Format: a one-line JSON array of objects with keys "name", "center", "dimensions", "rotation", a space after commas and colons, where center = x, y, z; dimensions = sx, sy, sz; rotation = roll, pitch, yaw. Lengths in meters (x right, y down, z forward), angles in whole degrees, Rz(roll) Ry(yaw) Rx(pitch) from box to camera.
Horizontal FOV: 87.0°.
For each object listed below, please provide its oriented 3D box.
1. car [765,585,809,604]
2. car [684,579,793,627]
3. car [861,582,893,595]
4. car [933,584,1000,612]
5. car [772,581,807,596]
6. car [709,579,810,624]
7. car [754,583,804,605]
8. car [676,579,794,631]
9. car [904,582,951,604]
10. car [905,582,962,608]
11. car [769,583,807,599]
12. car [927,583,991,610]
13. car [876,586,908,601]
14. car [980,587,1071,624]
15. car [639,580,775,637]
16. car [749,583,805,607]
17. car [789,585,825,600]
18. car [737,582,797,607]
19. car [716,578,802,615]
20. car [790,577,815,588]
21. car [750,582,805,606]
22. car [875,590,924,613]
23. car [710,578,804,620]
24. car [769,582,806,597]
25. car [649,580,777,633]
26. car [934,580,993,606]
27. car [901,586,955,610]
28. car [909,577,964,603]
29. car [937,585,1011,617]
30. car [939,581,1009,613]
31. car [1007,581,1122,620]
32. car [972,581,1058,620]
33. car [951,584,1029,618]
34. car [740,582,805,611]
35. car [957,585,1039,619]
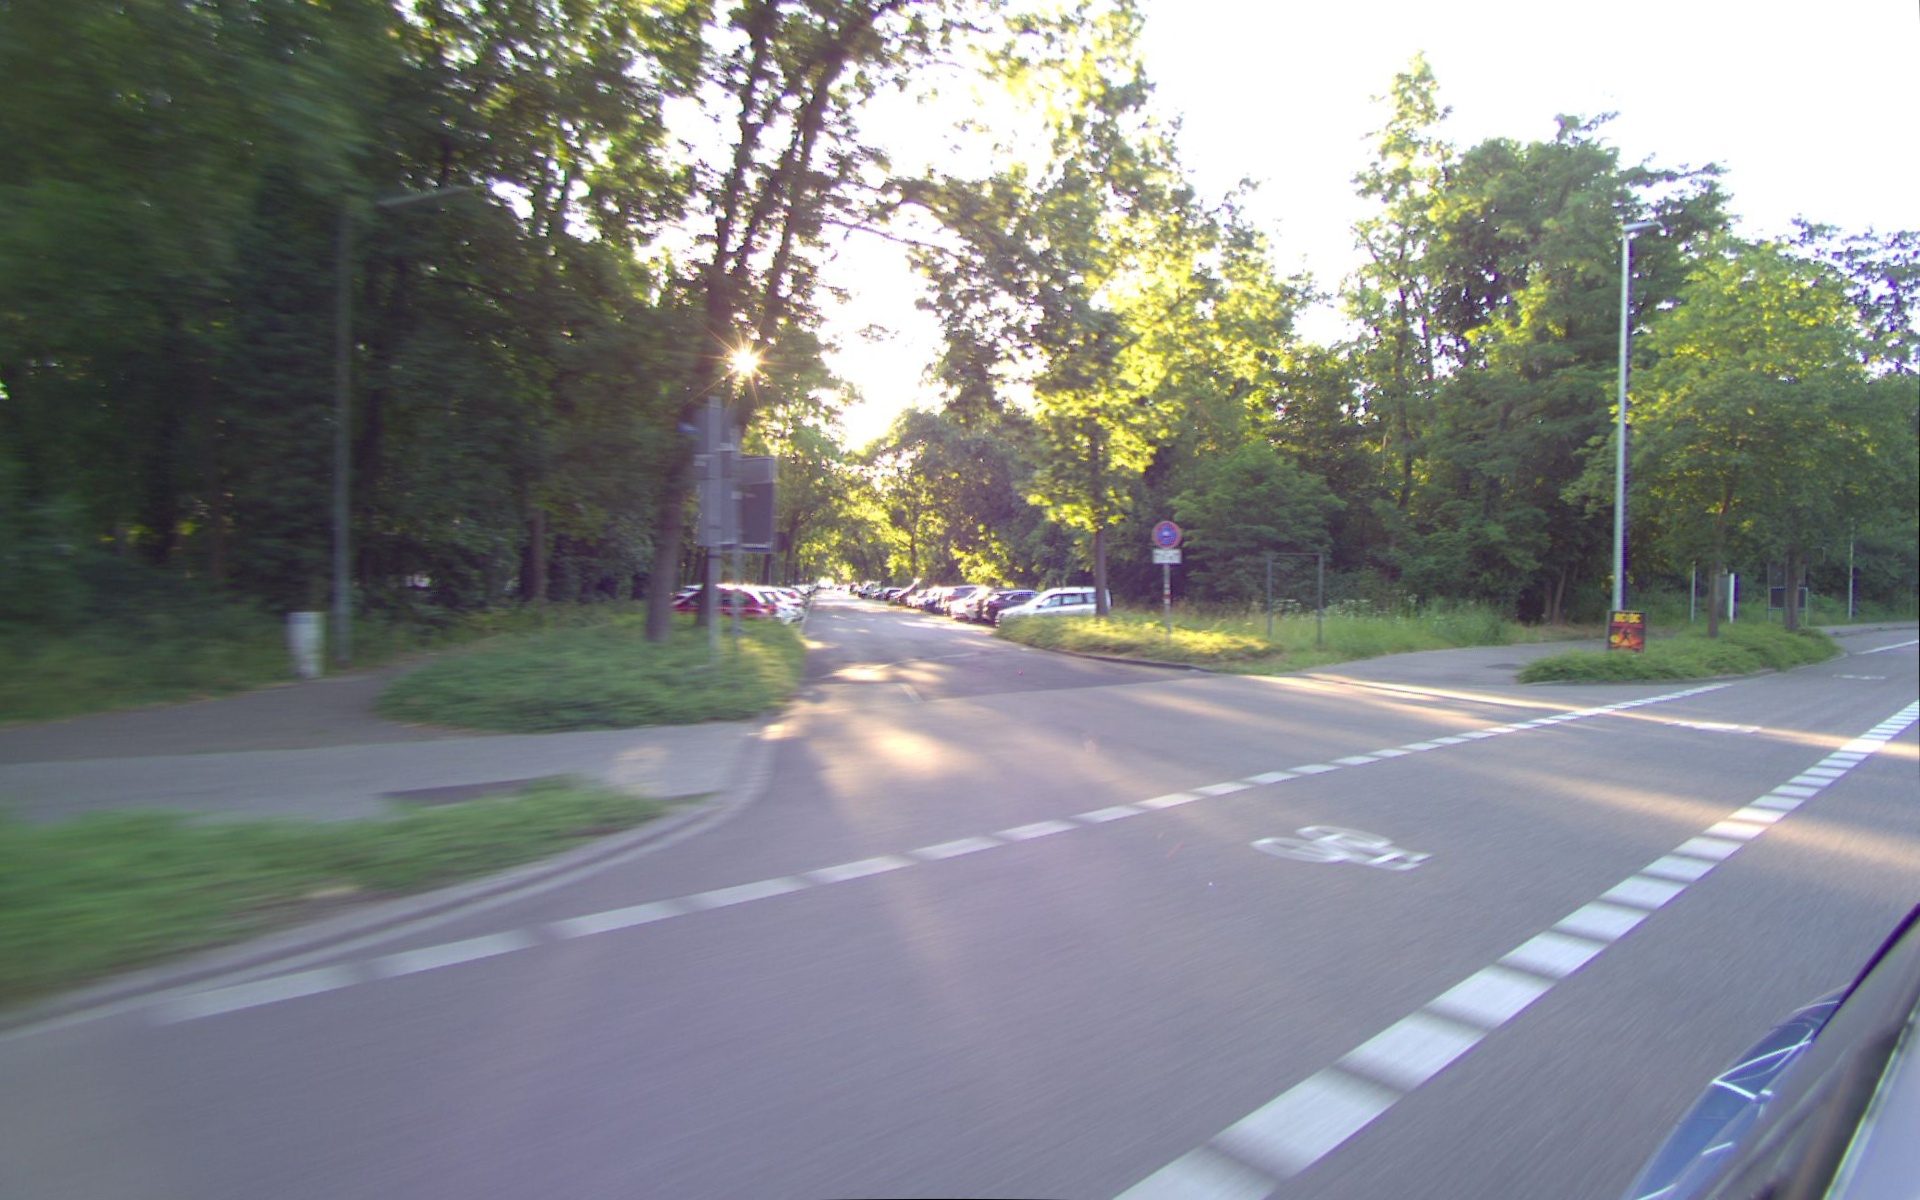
[{"name": "car", "center": [-14.272, -0.467, 83.638], "dimensions": [3.569, 1.533, 1.544], "rotation": [1, 1, -7]}, {"name": "car", "center": [-8.038, 0.088, 36.941], "dimensions": [3.762, 1.667, 1.544], "rotation": [1, 1, -7]}, {"name": "car", "center": [-11.098, -1.571, 135.281], "dimensions": [4.028, 1.565, 1.697], "rotation": [-2, 1, -7]}, {"name": "car", "center": [0.350, -0.107, 57.782], "dimensions": [3.567, 1.563, 1.544], "rotation": [0, 1, -11]}, {"name": "car", "center": [-18.131, -1.262, 107.778], "dimensions": [3.569, 1.533, 1.544], "rotation": [1, 1, -7]}, {"name": "car", "center": [-7.758, 0.046, 39.419], "dimensions": [3.762, 1.667, 1.544], "rotation": [1, 1, -7]}, {"name": "car", "center": [-13.223, -0.418, 74.068], "dimensions": [3.569, 1.533, 1.544], "rotation": [1, 1, -7]}, {"name": "car", "center": [-7.589, 0.155, 34.373], "dimensions": [3.762, 1.667, 1.544], "rotation": [1, 1, -7]}, {"name": "car", "center": [-2.638, -0.555, 81.361], "dimensions": [3.569, 1.683, 1.544], "rotation": [1, 1, -7]}, {"name": "car", "center": [-1.766, -0.320, 67.262], "dimensions": [3.567, 1.683, 1.544], "rotation": [0, 1, -11]}, {"name": "car", "center": [-16.597, -0.900, 97.743], "dimensions": [3.569, 1.533, 1.544], "rotation": [1, 1, -7]}, {"name": "car", "center": [-0.085, -0.195, 60.336], "dimensions": [3.567, 1.563, 1.544], "rotation": [0, 1, -11]}, {"name": "car", "center": [-7.891, -0.785, 118.011], "dimensions": [3.569, 1.683, 1.544], "rotation": [-2, 1, -7]}, {"name": "car", "center": [2.744, 0.215, 42.836], "dimensions": [3.567, 1.500, 1.544], "rotation": [0, 1, -11]}, {"name": "car", "center": [-7.414, 0.241, 29.922], "dimensions": [3.762, 1.605, 1.544], "rotation": [1, 1, -7]}, {"name": "car", "center": [-11.990, -0.360, 66.533], "dimensions": [3.569, 1.533, 1.544], "rotation": [1, 1, -7]}, {"name": "car", "center": [-15.627, -0.781, 103.184], "dimensions": [3.569, 1.533, 1.544], "rotation": [1, 1, -7]}, {"name": "car", "center": [-12.147, -0.358, 63.863], "dimensions": [3.569, 1.570, 1.544], "rotation": [1, 1, -7]}, {"name": "car", "center": [-9.628, -0.185, 48.621], "dimensions": [3.913, 1.667, 1.544], "rotation": [1, 1, -7]}, {"name": "car", "center": [-23.379, -2.643, 150.166], "dimensions": [3.569, 1.533, 1.544], "rotation": [1, 1, -7]}, {"name": "car", "center": [-12.396, -0.408, 68.903], "dimensions": [3.569, 1.533, 1.544], "rotation": [1, 1, -7]}, {"name": "car", "center": [-4.622, 0.085, 77.650], "dimensions": [3.567, 1.683, 1.544], "rotation": [0, 1, -11]}, {"name": "car", "center": [-8.483, -0.055, 42.485], "dimensions": [3.762, 1.667, 1.544], "rotation": [1, 1, -7]}, {"name": "car", "center": [-17.150, -1.051, 100.885], "dimensions": [3.569, 1.533, 1.544], "rotation": [1, 1, -7]}, {"name": "car", "center": [-7.727, 0.195, 31.960], "dimensions": [3.762, 1.605, 1.544], "rotation": [1, 1, -7]}, {"name": "car", "center": [0.196, -0.459, 65.376], "dimensions": [3.567, 1.683, 1.544], "rotation": [0, 1, -11]}, {"name": "car", "center": [-2.279, -0.147, 71.473], "dimensions": [3.567, 1.683, 1.544], "rotation": [0, 1, -11]}, {"name": "car", "center": [-1.604, -0.694, 69.435], "dimensions": [3.567, 1.683, 1.544], "rotation": [0, 1, -11]}, {"name": "car", "center": [0.700, 0.053, 51.927], "dimensions": [3.567, 1.563, 1.544], "rotation": [0, 1, -11]}, {"name": "car", "center": [0.734, -0.172, 55.011], "dimensions": [3.567, 1.683, 1.544], "rotation": [0, 1, -11]}, {"name": "car", "center": [3.852, 0.012, 37.567], "dimensions": [3.916, 1.414, 1.544], "rotation": [0, 1, -11]}, {"name": "car", "center": [2.459, 0.015, 45.529], "dimensions": [3.567, 1.728, 1.544], "rotation": [0, 1, -11]}, {"name": "car", "center": [1.453, 0.047, 49.423], "dimensions": [3.567, 1.563, 1.544], "rotation": [0, 1, -11]}, {"name": "car", "center": [-10.693, -0.222, 57.775], "dimensions": [3.569, 1.570, 1.544], "rotation": [1, 1, -7]}, {"name": "car", "center": [1.774, 0.085, 47.475], "dimensions": [3.567, 1.563, 1.544], "rotation": [0, 1, -11]}]
